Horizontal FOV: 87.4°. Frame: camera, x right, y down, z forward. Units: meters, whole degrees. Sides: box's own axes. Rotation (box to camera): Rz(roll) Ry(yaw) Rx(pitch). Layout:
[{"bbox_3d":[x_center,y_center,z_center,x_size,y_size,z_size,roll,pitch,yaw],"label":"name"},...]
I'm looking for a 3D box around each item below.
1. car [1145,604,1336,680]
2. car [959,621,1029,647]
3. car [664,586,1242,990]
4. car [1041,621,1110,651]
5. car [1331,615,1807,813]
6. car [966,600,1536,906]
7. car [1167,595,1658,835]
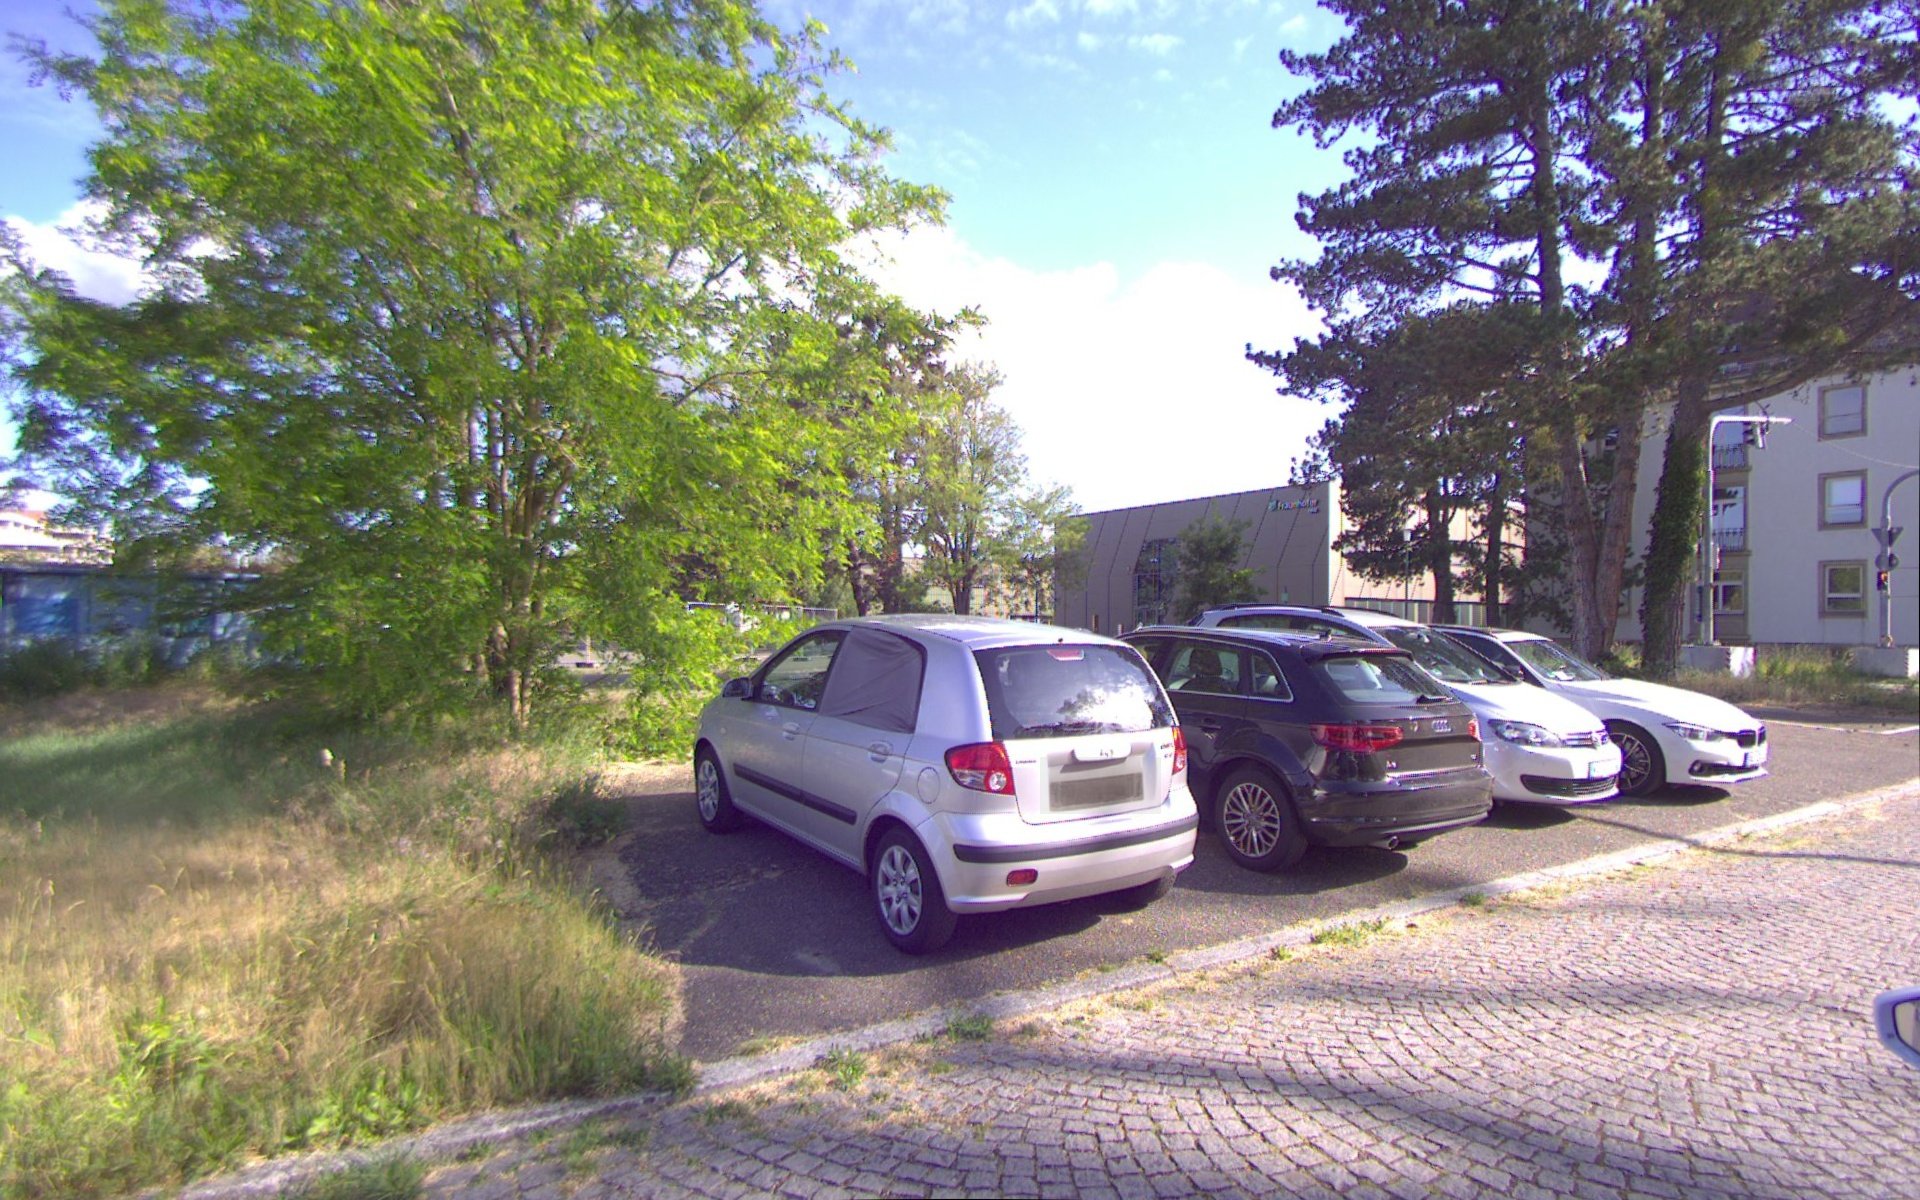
[{"bbox_3d":[6.515,0.943,23.744,1.987,1.630,4.123,1,-1,-31],"label":"car"},{"bbox_3d":[2.377,2.358,69.879,4.505,1.725,1.984,1,-1,-30],"label":"car"},{"bbox_3d":[-0.342,0.752,6.016,1.682,1.548,3.661,1,1,-34],"label":"car"},{"bbox_3d":[7.144,2.206,62.070,3.955,1.802,1.856,1,-1,-30],"label":"car"},{"bbox_3d":[6.142,1.003,10.658,1.750,1.516,3.971,1,1,-27],"label":"car"},{"bbox_3d":[1.832,0.843,7.504,1.673,1.464,3.913,1,2,-33],"label":"car"},{"bbox_3d":[3.914,0.840,9.321,1.643,1.637,3.856,1,1,-33],"label":"car"}]
